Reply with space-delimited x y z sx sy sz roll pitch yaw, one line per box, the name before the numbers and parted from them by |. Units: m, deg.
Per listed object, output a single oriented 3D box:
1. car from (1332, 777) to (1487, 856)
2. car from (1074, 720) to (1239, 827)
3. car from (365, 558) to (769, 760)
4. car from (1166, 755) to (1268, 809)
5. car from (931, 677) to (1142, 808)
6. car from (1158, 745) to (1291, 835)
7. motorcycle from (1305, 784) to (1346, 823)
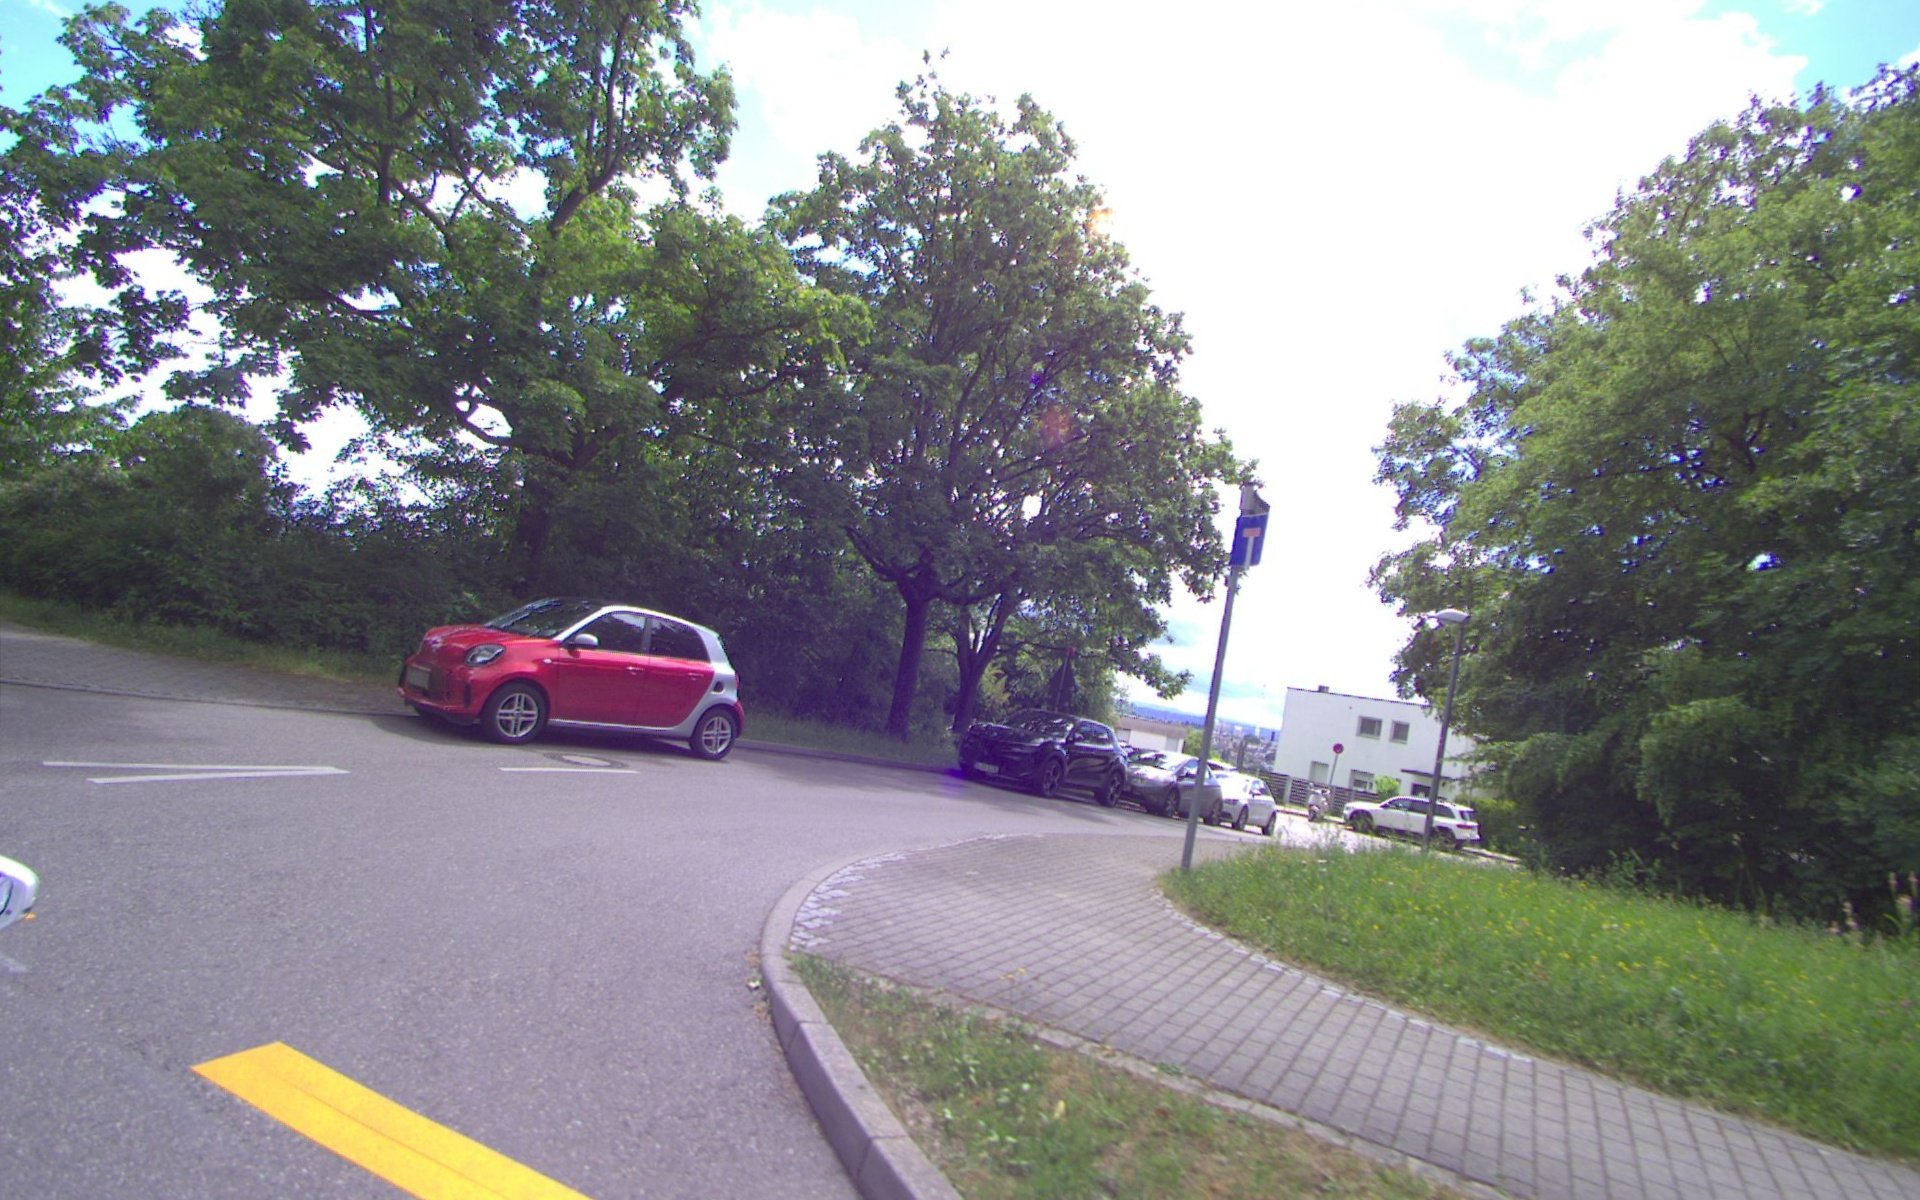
car | 16.283 7.848 36.557 4.626 1.750 1.999 6 -8 39
car | 4.446 3.889 22.281 1.969 1.608 4.006 7 -9 36
car | -4.113 0.725 10.976 1.755 1.495 3.544 8 -5 38
car | 10.506 7.452 41.197 3.549 1.613 1.737 4 -7 35
car | 1.537 2.707 18.696 1.969 1.608 4.006 7 -9 36
car | 7.000 5.022 26.344 1.969 1.608 4.006 7 -9 36
motorcycle | 14.343 7.941 39.424 0.829 1.316 2.987 4 -6 32
